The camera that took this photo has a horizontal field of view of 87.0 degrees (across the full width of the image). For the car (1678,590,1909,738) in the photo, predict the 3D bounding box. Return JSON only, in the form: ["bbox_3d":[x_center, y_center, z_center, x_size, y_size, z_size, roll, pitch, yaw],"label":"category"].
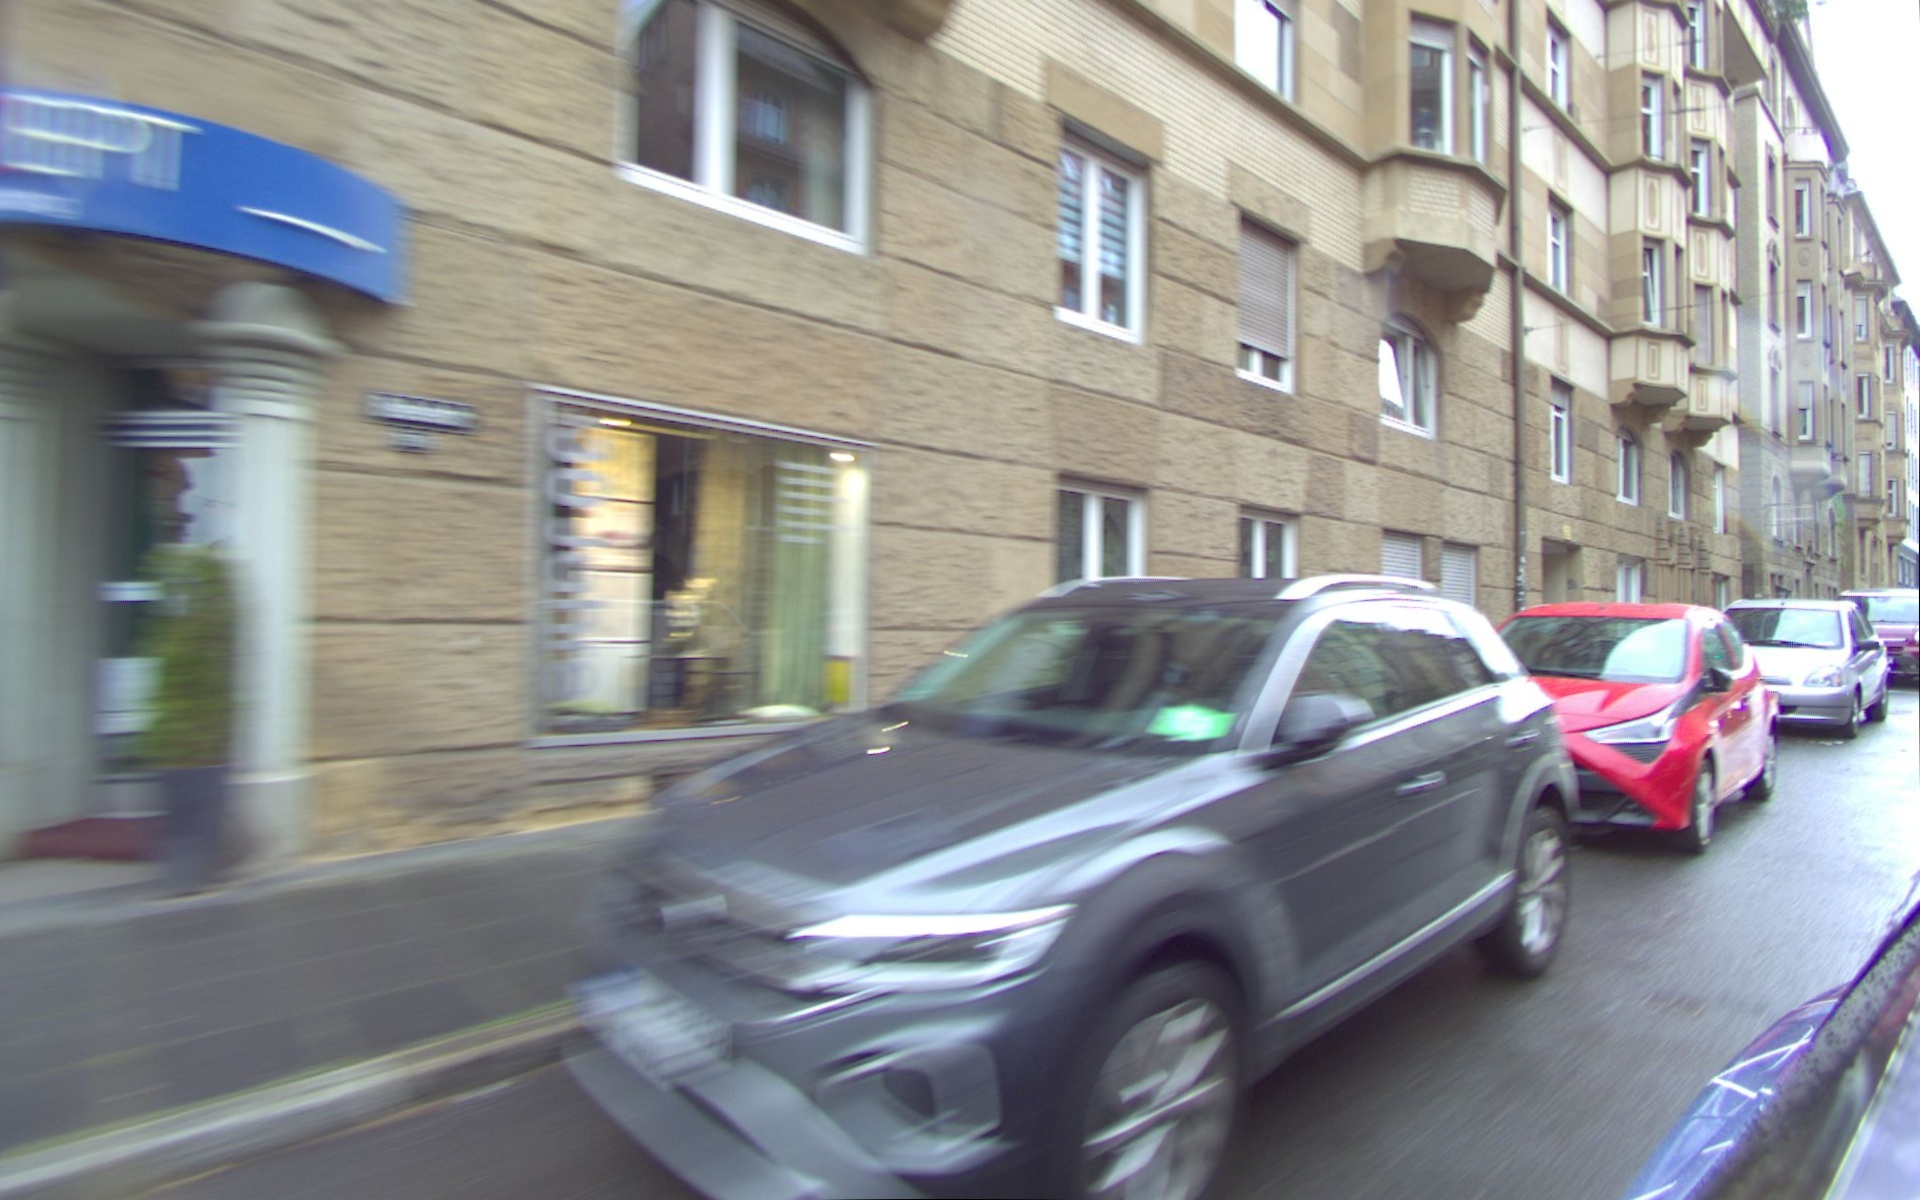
[{"bbox_3d":[10.048,0.640,12.126,3.461,1.505,1.597,0,1,-41],"label":"car"}]

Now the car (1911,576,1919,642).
[{"bbox_3d":[27.775,0.225,27.961,3.893,1.791,1.809,-1,0,-41],"label":"car"}]

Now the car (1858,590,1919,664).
[{"bbox_3d":[20.868,0.540,22.024,3.471,1.530,1.630,-1,-1,-43],"label":"car"}]

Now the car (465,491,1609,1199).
[{"bbox_3d":[0.611,0.609,3.601,3.922,1.568,1.870,-1,-1,-42],"label":"car"}]

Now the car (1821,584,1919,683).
[{"bbox_3d":[16.878,0.525,18.132,3.933,1.621,1.771,-1,1,-43],"label":"car"}]

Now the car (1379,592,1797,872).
[{"bbox_3d":[4.586,0.704,7.199,3.474,1.471,1.706,-1,-1,-44],"label":"car"}]
